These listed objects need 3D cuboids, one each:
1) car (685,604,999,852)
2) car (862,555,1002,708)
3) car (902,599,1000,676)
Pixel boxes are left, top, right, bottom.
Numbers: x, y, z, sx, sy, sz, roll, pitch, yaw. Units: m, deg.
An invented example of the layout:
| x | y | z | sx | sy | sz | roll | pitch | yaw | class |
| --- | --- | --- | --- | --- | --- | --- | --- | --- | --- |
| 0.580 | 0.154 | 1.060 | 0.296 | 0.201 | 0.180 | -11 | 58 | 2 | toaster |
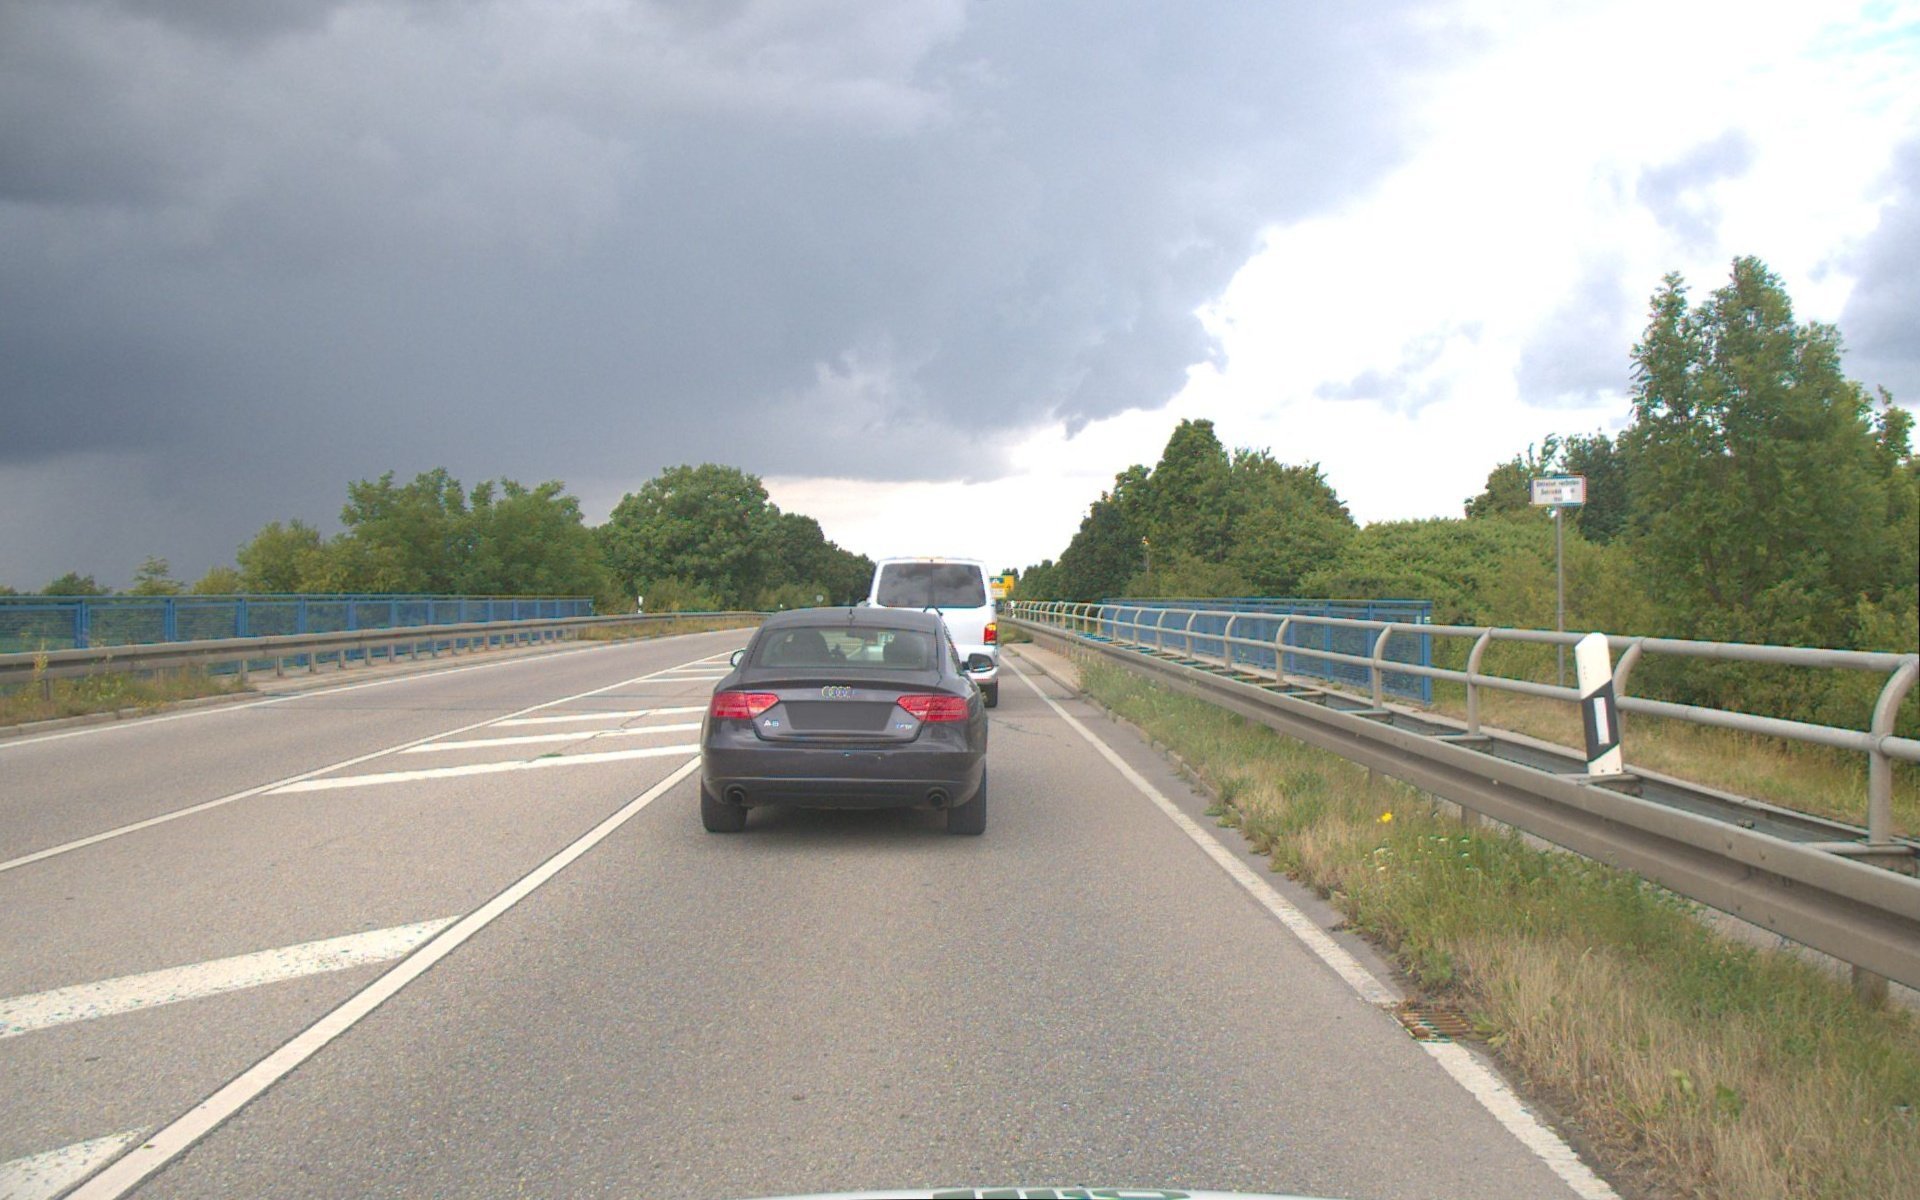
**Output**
| x | y | z | sx | sy | sz | roll | pitch | yaw | class |
| --- | --- | --- | --- | --- | --- | --- | --- | --- | --- |
| -0.667 | 0.737 | 11.485 | 1.784 | 1.405 | 4.071 | 0 | 0 | 0 | car |
| -0.391 | 0.407 | 23.262 | 1.791 | 1.969 | 3.999 | 0 | 0 | -1 | car |
| -0.158 | 0.686 | 32.381 | 1.784 | 1.405 | 4.071 | 0 | 0 | 0 | car |
